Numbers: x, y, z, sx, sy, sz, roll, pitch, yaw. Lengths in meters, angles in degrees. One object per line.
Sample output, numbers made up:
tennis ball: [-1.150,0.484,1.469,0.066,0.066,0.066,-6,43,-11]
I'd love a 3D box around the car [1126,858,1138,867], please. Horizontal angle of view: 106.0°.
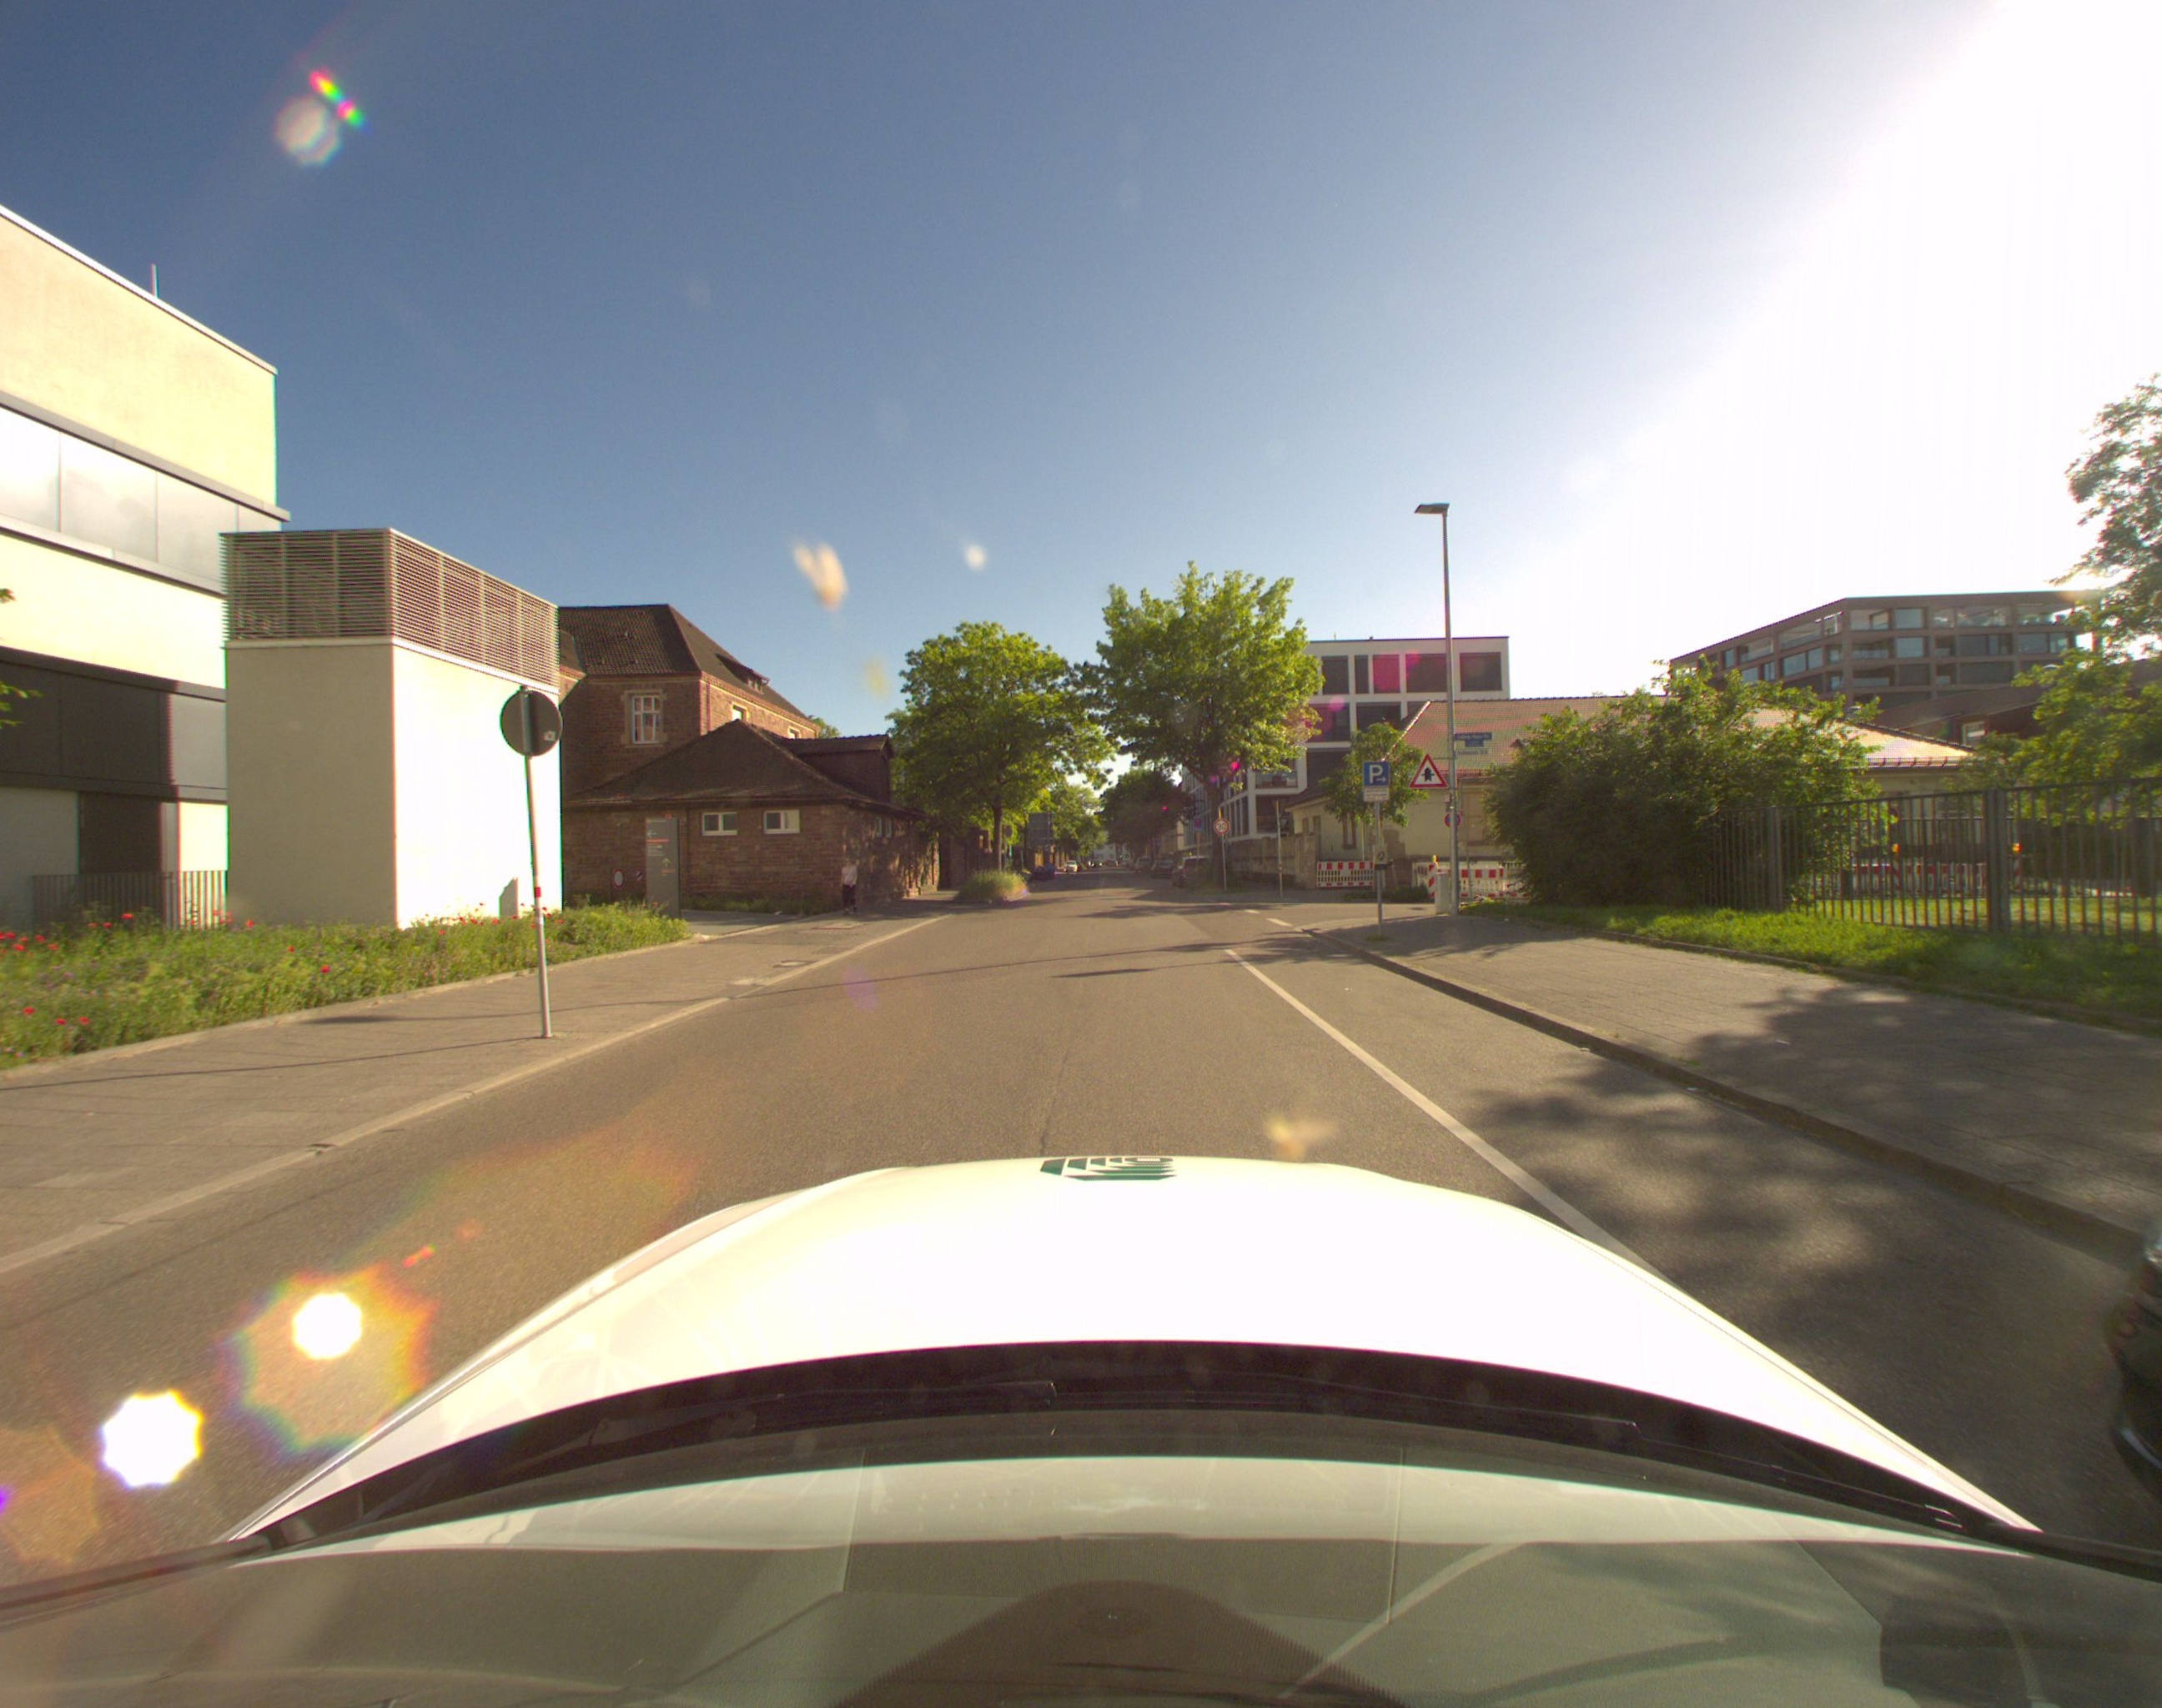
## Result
car: [8.542,1.432,136.873,1.985,1.425,3.839,-1,0,3]

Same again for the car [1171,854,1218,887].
car: [5.376,0.770,39.050,1.697,1.468,4.790,-1,0,2]

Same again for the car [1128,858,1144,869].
car: [7.058,1.213,104.677,1.985,1.465,3.839,-1,0,3]

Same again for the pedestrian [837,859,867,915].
pedestrian: [-6.570,0.930,23.415,0.519,1.562,1.096,-1,0,1]

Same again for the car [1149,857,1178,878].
car: [6.065,0.966,60.454,1.761,1.440,4.000,-2,-1,1]

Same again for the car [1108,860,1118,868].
car: [6.166,1.902,157.210,1.761,1.548,4.066,-2,-1,1]

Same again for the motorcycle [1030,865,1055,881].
motorcycle: [-2.750,1.354,58.861,0.570,1.074,2.135,-2,-1,35]

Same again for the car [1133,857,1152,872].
car: [6.741,1.170,89.172,1.942,1.578,3.839,-1,0,3]

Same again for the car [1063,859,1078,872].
car: [-1.301,1.447,101.633,1.761,1.487,4.000,-2,-1,1]

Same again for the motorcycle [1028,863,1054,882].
motorcycle: [-2.795,1.265,57.320,0.570,1.276,2.135,-2,-1,35]

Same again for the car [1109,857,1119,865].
car: [6.410,1.346,157.153,1.881,1.400,3.839,-1,0,3]

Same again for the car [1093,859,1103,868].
car: [3.155,1.718,148.654,1.647,1.530,4.001,-1,0,2]

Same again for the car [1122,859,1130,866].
car: [9.490,1.788,170.444,1.579,1.400,3.839,-1,0,3]

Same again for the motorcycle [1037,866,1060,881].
motorcycle: [-2.459,1.491,61.508,0.570,1.074,2.135,-2,-1,35]
